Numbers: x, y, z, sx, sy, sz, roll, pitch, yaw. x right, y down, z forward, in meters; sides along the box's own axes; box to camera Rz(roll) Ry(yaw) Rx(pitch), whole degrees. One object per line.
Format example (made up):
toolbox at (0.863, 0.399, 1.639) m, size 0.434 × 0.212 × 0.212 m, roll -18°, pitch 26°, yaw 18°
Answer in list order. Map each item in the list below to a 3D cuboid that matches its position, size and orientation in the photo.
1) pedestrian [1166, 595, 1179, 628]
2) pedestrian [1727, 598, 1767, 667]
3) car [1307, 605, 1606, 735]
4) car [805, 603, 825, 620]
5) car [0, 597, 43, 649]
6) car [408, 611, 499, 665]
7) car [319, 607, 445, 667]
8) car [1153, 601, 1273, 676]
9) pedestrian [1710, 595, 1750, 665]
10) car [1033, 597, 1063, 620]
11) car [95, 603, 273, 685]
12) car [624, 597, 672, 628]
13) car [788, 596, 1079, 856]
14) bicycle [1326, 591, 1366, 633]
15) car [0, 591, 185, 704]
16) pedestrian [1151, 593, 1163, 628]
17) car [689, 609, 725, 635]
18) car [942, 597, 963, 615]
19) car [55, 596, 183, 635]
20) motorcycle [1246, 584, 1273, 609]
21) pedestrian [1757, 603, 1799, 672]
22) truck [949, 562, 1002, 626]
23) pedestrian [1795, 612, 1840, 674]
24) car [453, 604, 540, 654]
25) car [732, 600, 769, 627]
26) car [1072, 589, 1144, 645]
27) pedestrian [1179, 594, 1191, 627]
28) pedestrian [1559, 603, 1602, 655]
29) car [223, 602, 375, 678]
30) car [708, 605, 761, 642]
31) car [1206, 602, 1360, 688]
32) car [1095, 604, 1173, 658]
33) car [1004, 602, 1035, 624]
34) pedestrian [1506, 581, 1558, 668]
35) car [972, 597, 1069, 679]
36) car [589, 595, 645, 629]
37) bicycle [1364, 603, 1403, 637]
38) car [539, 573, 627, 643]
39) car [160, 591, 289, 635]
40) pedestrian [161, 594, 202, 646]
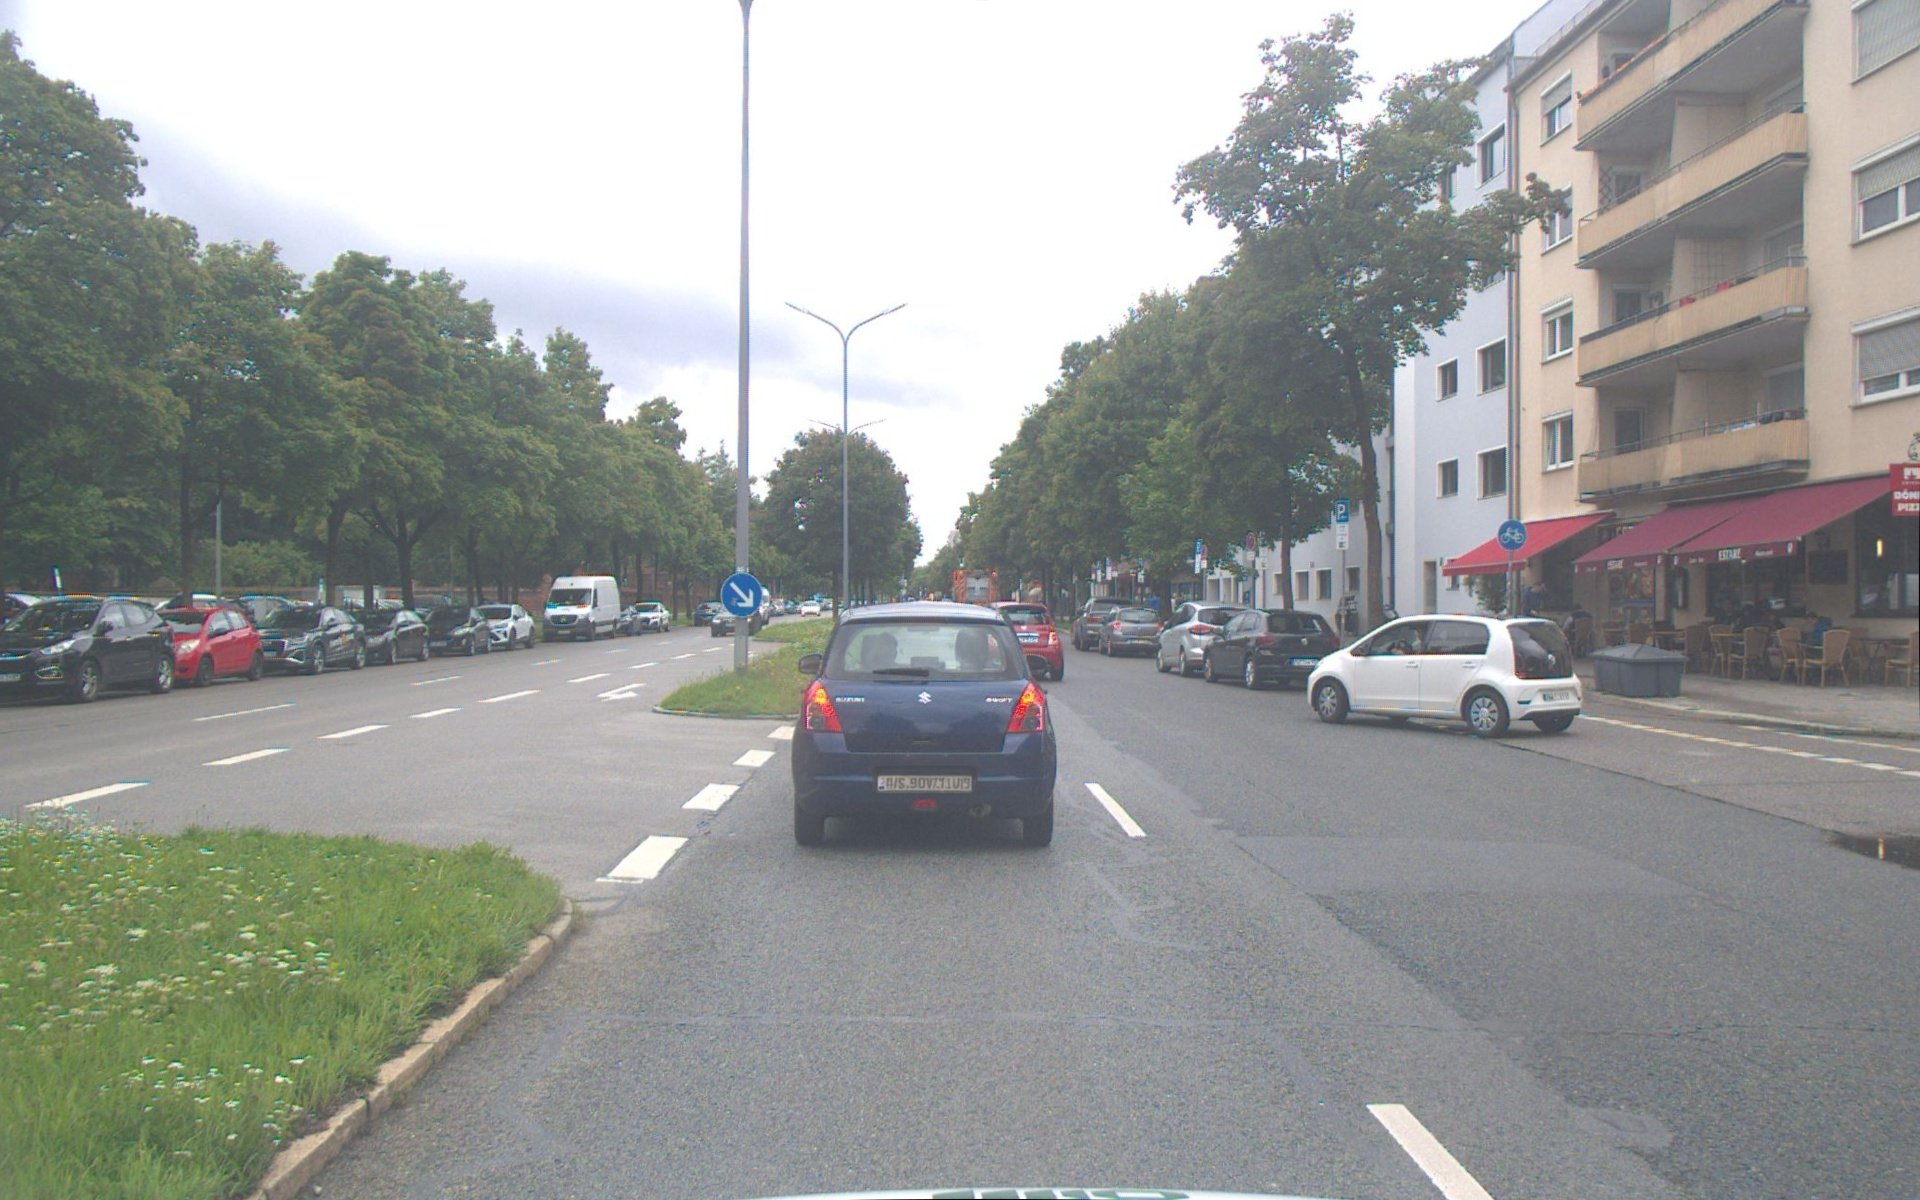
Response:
pedestrian at (10.897, 0.570, 84.818) m, size 0.538 × 1.658 × 0.641 m, roll -1°, pitch 0°, yaw -1°
pedestrian at (14.792, 0.607, 31.099) m, size 0.527 × 1.290 × 0.486 m, roll 0°, pitch 0°, yaw -2°
car at (6.338, 0.831, 21.345) m, size 1.675 × 1.516 × 3.387 m, roll 0°, pitch 0°, yaw -38°
car at (-14.259, 1.125, 162.652) m, size 1.726 × 1.564 × 4.311 m, roll -3°, pitch 0°, yaw -4°
car at (-28.753, 0.636, 47.327) m, size 3.911 × 1.467 × 1.997 m, roll 0°, pitch 0°, yaw -7°
car at (-15.093, 1.117, 49.495) m, size 1.786 × 1.473 × 3.995 m, roll -1°, pitch 0°, yaw -5°
car at (-14.979, 0.932, 43.107) m, size 1.784 × 1.434 × 4.000 m, roll -2°, pitch 0°, yaw 1°
car at (5.531, 0.799, 36.664) m, size 1.792 × 1.549 × 4.521 m, roll 0°, pitch 0°, yaw -3°
pedestrian at (15.051, 0.580, 32.329) m, size 0.527 × 1.362 × 0.552 m, roll 0°, pitch 0°, yaw -2°
car at (6.460, 0.608, 122.125) m, size 1.953 × 1.671 × 4.332 m, roll 0°, pitch 0°, yaw -1°
car at (-15.076, 0.837, 32.369) m, size 1.785 × 1.505 × 3.808 m, roll 0°, pitch -1°, yaw -2°
car at (-15.823, 0.657, 84.084) m, size 1.820 × 1.517 × 4.140 m, roll 0°, pitch -1°, yaw -2°
car at (-0.169, 0.746, 11.781) m, size 1.717 × 1.531 × 3.999 m, roll 0°, pitch 0°, yaw -1°
bicycle at (13.616, 0.423, 58.412) m, size 0.688 × 1.432 × 2.592 m, roll -2°, pitch 0°, yaw -1°
car at (-14.694, 0.758, 27.448) m, size 1.785 × 1.729 × 4.237 m, roll 0°, pitch -1°, yaw -2°
pedestrian at (10.110, 0.538, 84.877) m, size 0.489 × 1.764 × 0.732 m, roll 0°, pitch 0°, yaw -1°
car at (-16.343, 1.416, 107.007) m, size 1.849 × 1.564 × 4.312 m, roll -3°, pitch 0°, yaw -3°
car at (-0.671, 0.510, 148.532) m, size 1.792 × 1.549 × 3.769 m, roll 0°, pitch 0°, yaw -2°
car at (-32.287, 0.600, 63.615) m, size 3.911 × 1.467 × 1.997 m, roll 0°, pitch 0°, yaw -7°
motorcycle at (13.326, -0.154, 73.662) m, size 0.746 × 1.105 × 2.199 m, roll 0°, pitch 0°, yaw -1°
pedestrian at (14.842, 0.669, 30.026) m, size 0.527 × 1.235 × 0.487 m, roll 0°, pitch 0°, yaw -1°
truck at (0.843, -0.327, 100.204) m, size 2.979 × 3.619 × 13.672 m, roll 0°, pitch 0°, yaw -1°
pedestrian at (14.795, 0.738, 28.551) m, size 0.527 × 1.072 × 0.487 m, roll 0°, pitch 0°, yaw -1°
car at (-15.274, 0.956, 54.689) m, size 1.785 × 1.554 × 4.296 m, roll -2°, pitch -1°, yaw -2°
car at (-13.199, 0.823, 104.548) m, size 1.813 × 1.628 × 4.401 m, roll -2°, pitch 0°, yaw -1°
car at (4.798, 0.532, 54.253) m, size 1.792 × 1.776 × 4.506 m, roll 0°, pitch 0°, yaw -3°
pedestrian at (11.569, 0.537, 85.128) m, size 0.530 × 1.669 × 0.724 m, roll 0°, pitch 0°, yaw -1°
pedestrian at (14.273, 0.664, 38.060) m, size 0.728 × 1.184 × 0.646 m, roll 0°, pitch 0°, yaw -2°
car at (-14.872, 0.866, 37.443) m, size 1.784 × 1.627 × 4.112 m, roll 0°, pitch 0°, yaw 0°
car at (-9.655, 0.975, 71.129) m, size 1.779 × 1.473 × 4.780 m, roll -1°, pitch 0°, yaw -2°
car at (5.998, 0.797, 31.153) m, size 1.794 × 1.499 × 3.883 m, roll 0°, pitch 0°, yaw -6°
car at (5.142, 0.890, 49.295) m, size 1.792 × 1.549 × 3.769 m, roll 0°, pitch 0°, yaw -3°
car at (4.088, 0.893, 114.743) m, size 1.953 × 1.477 × 3.999 m, roll 0°, pitch 0°, yaw -1°
pedestrian at (12.960, 0.548, 37.477) m, size 0.854 × 1.963 × 0.757 m, roll 0°, pitch 0°, yaw -17°
car at (1.168, 0.717, 33.443) m, size 1.684 × 1.527 × 4.299 m, roll 1°, pitch 0°, yaw -2°
car at (-15.806, 0.597, 76.415) m, size 1.820 × 1.517 × 4.249 m, roll 0°, pitch -1°, yaw -2°
bicycle at (13.822, 0.646, 53.987) m, size 0.609 × 1.064 × 2.195 m, roll -4°, pitch 0°, yaw -1°
car at (-15.614, 0.285, 68.856) m, size 2.096 × 2.690 × 7.104 m, roll -1°, pitch 0°, yaw -1°
car at (-27.044, 0.471, 60.901) m, size 3.905 × 1.598 × 1.814 m, roll 0°, pitch 0°, yaw 0°
pedestrian at (-22.722, 0.577, 48.277) m, size 0.778 × 1.521 × 0.856 m, roll 0°, pitch 0°, yaw -1°
